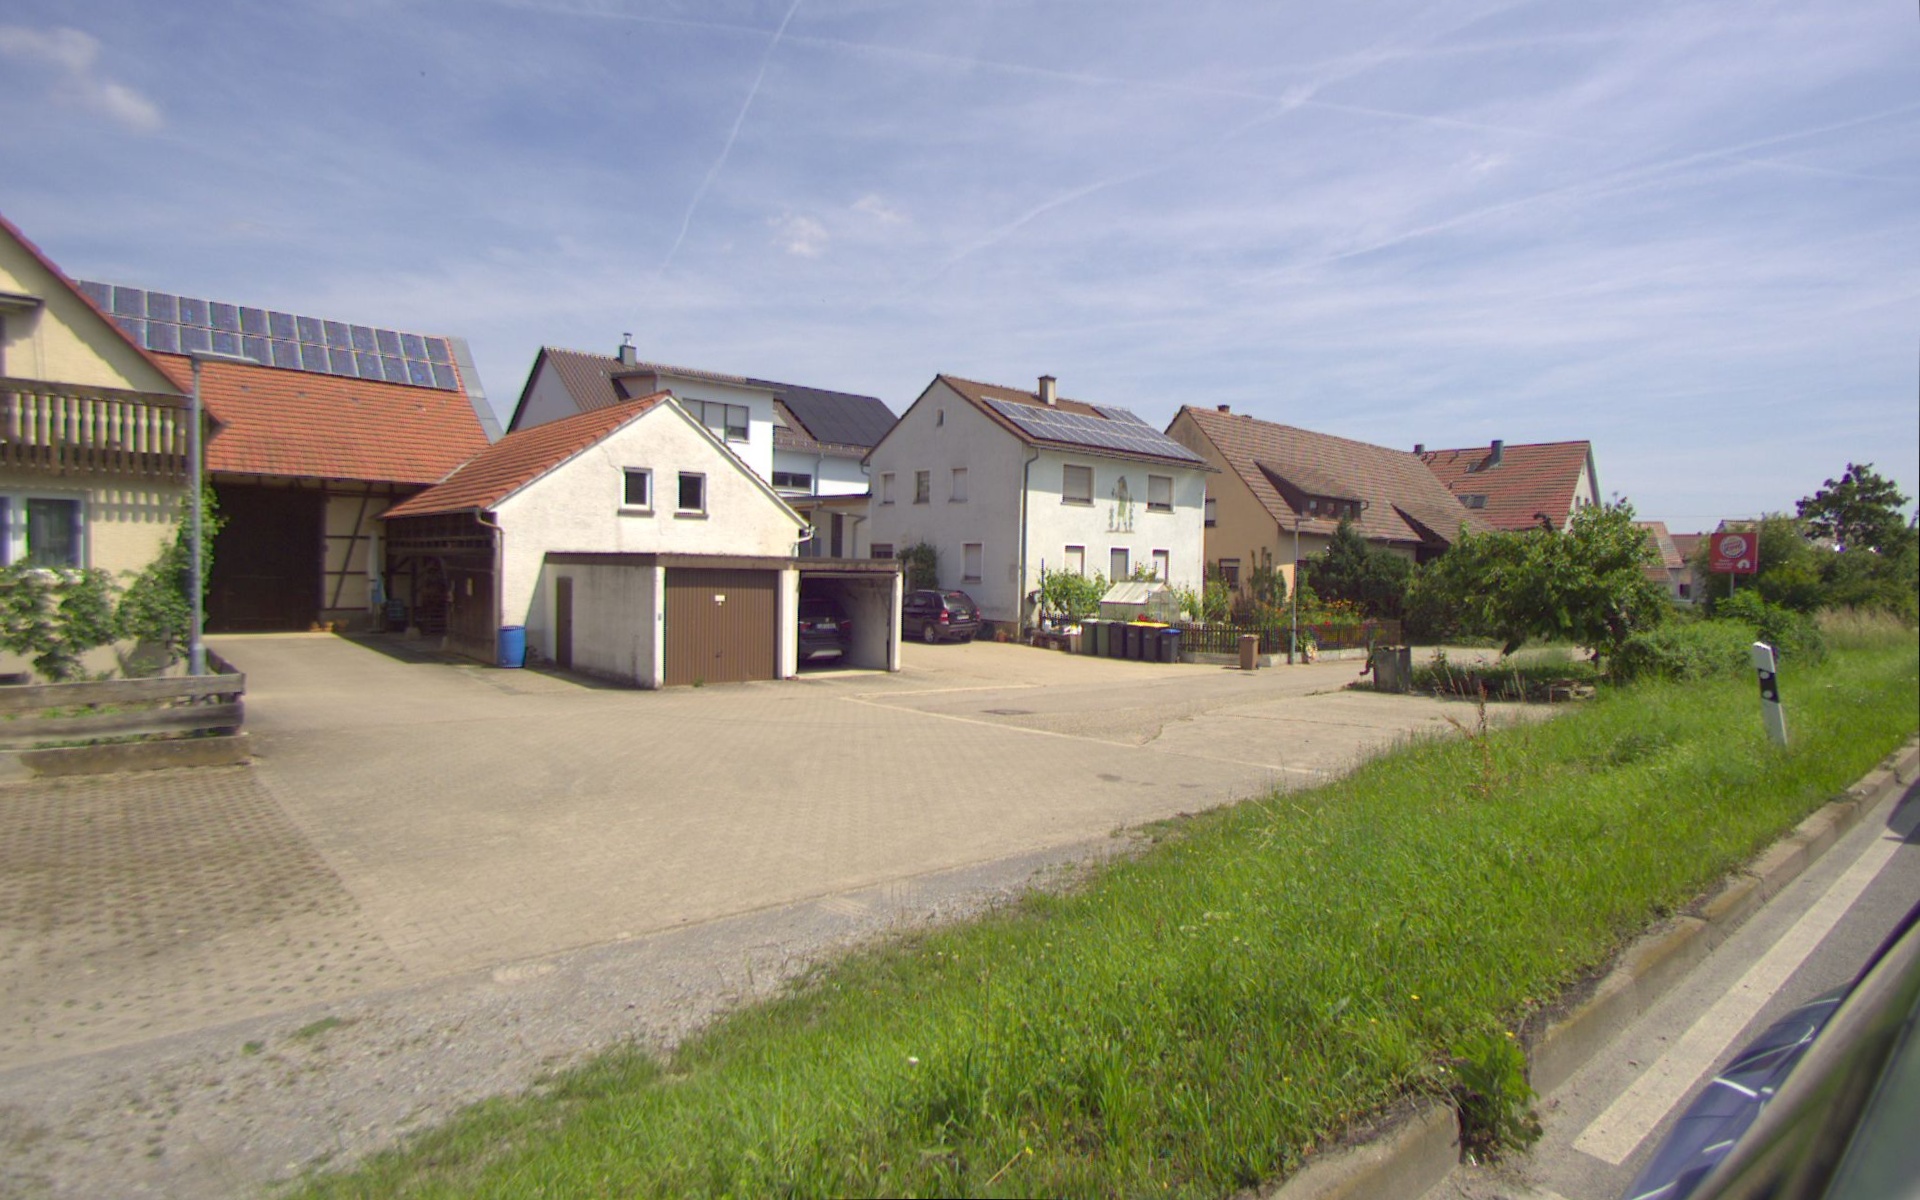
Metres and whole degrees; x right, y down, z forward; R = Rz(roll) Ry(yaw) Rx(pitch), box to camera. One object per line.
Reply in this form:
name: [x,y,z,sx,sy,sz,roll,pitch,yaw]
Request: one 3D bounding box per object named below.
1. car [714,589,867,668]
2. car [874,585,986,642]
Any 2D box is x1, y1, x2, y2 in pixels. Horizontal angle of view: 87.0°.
car: [-4.103,0.601,24.050,1.802,1.597,3.995,-1,2,-40]
car: [-1.071,0.394,34.227,1.811,1.714,3.959,-1,3,-38]
